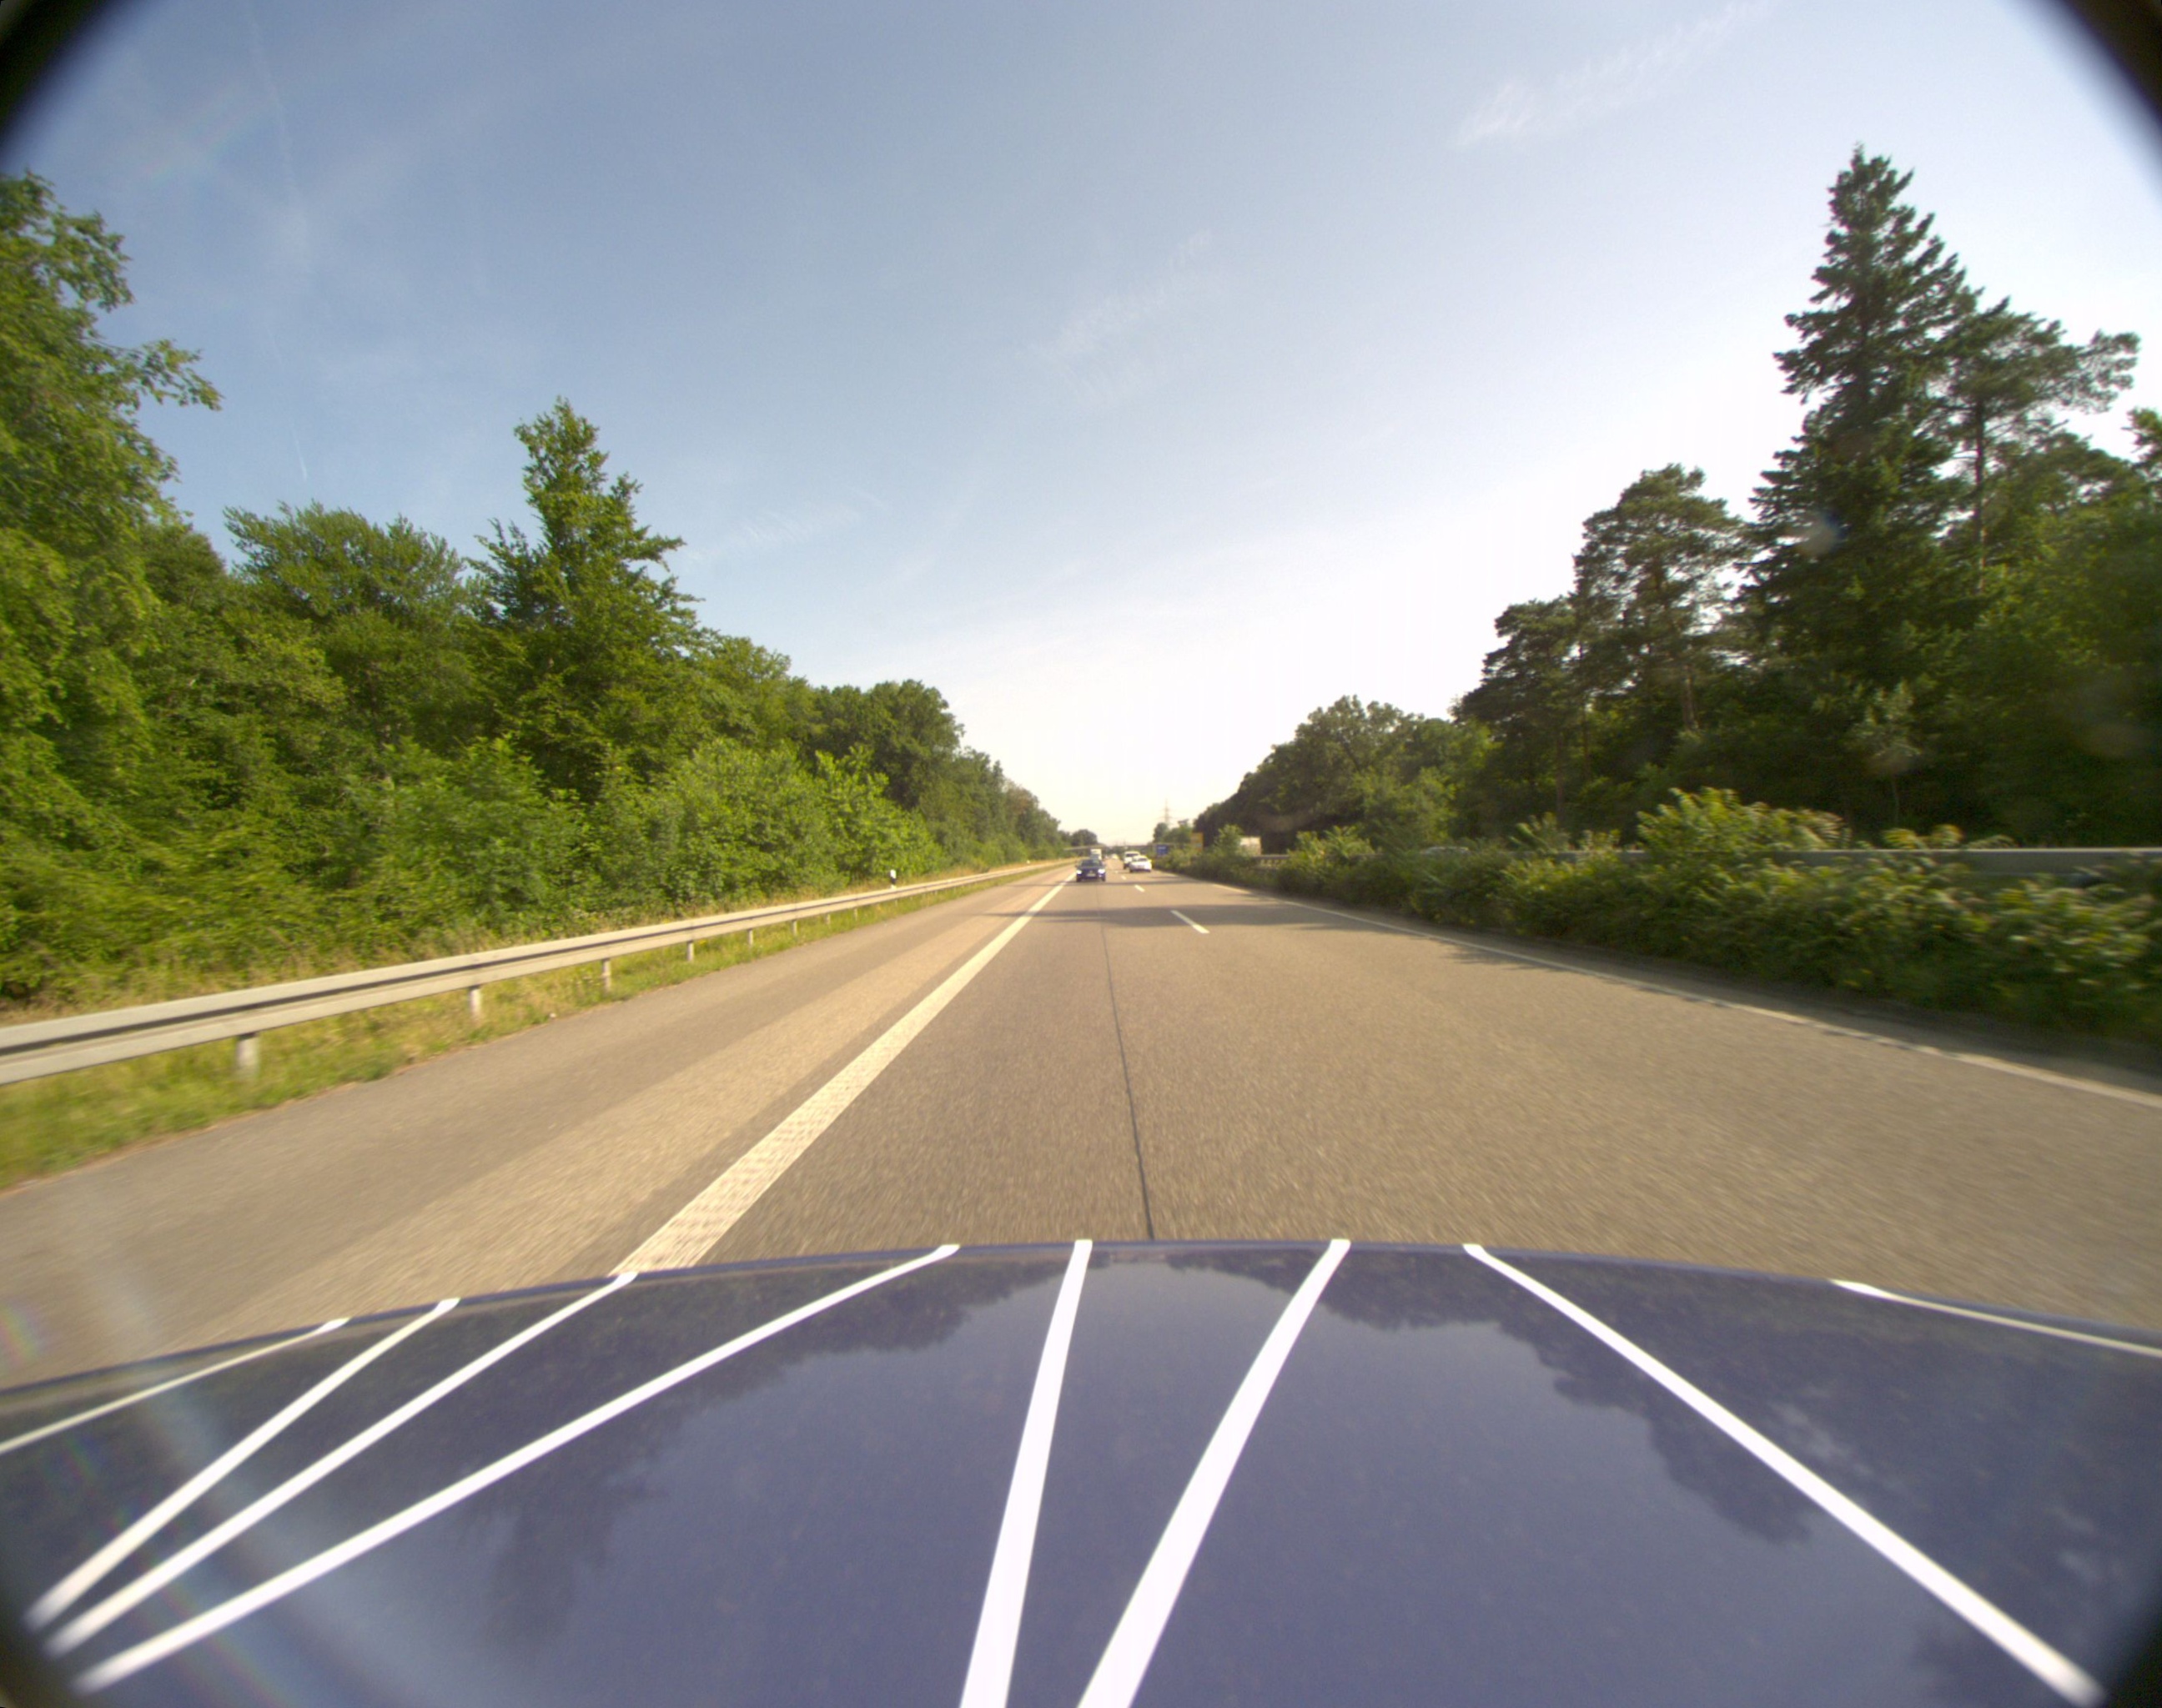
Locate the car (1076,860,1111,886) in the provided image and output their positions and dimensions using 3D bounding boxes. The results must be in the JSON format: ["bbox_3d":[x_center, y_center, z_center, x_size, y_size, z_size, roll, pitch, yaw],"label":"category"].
[{"bbox_3d":[0.646,0.992,41.474,1.789,1.285,3.538,-2,0,1],"label":"car"}]

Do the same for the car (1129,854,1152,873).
[{"bbox_3d":[5.255,0.809,67.535,1.754,1.477,5.264,-2,0,2],"label":"car"}]

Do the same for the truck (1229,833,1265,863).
[{"bbox_3d":[17.965,-0.643,82.749,2.468,3.158,7.227,0,0,1],"label":"truck"}]

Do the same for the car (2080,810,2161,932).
[{"bbox_3d":[15.817,0.219,9.198,1.820,1.673,4.300,-2,1,1],"label":"car"}]

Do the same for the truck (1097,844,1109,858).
[{"bbox_3d":[6.437,-0.883,224.843,2.695,4.061,12.363,-2,0,-1],"label":"truck"}]

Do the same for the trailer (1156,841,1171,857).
[{"bbox_3d":[21.488,-1.340,199.403,2.899,3.984,13.324,0,0,2],"label":"trailer"}]

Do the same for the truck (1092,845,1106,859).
[{"bbox_3d":[4.081,-0.515,172.245,2.695,3.020,10.370,-2,0,0],"label":"truck"}]

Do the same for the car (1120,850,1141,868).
[{"bbox_3d":[5.582,0.528,85.722,1.912,1.934,4.705,-2,0,-2],"label":"car"}]
